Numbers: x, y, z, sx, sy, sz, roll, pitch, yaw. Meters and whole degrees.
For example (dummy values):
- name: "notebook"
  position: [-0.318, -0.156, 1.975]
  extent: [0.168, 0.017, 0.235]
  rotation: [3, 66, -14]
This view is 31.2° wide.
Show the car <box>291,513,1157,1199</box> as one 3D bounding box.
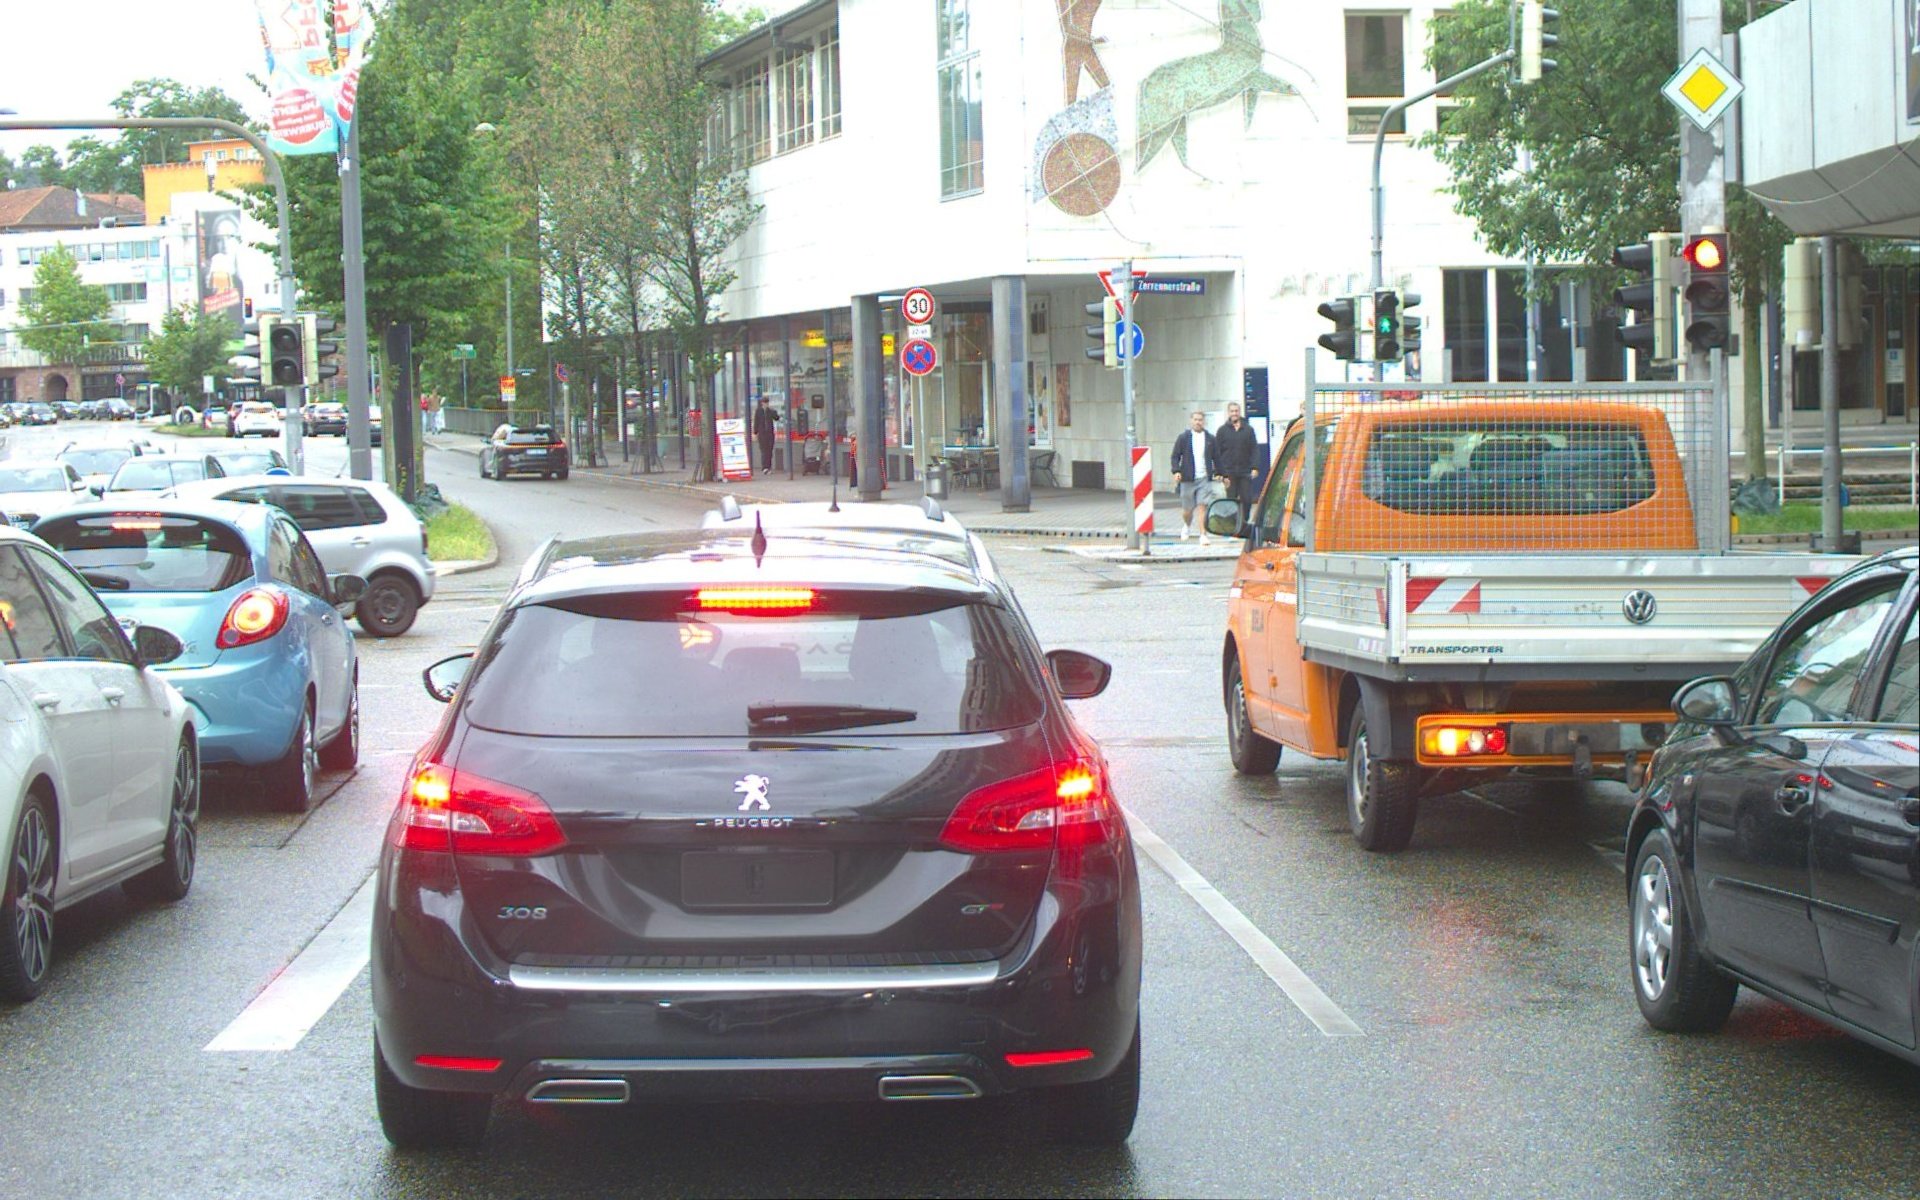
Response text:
- name: "car"
  position: [-0.483, 0.505, 9.006]
  extent: [1.777, 1.424, 3.842]
  rotation: [1, 2, 0]

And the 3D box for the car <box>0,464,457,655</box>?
- name: "car"
  position: [-6.538, -0.363, 30.348]
  extent: [3.741, 1.463, 1.638]
  rotation: [-3, 0, -33]

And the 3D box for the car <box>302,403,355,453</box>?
- name: "car"
  position: [-27.044, -7.350, 147.159]
  extent: [1.705, 1.929, 4.001]
  rotation: [1, 0, -18]

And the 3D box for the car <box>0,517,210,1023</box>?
- name: "car"
  position: [-3.723, 0.450, 11.441]
  extent: [1.777, 1.424, 3.843]
  rotation: [0, 2, -3]

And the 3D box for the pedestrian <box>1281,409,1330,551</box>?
- name: "pedestrian"
  position: [4.664, -1.617, 46.380]
  extent: [0.637, 1.891, 0.733]
  rotation: [0, 0, 6]

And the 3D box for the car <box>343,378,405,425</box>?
- name: "car"
  position: [-21.788, -7.358, 127.685]
  extent: [1.724, 1.485, 4.734]
  rotation: [1, 0, -16]

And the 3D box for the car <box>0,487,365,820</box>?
- name: "car"
  position: [-3.995, 0.189, 17.455]
  extent: [1.632, 1.481, 3.610]
  rotation: [0, 2, -5]

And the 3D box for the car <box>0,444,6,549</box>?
- name: "car"
  position: [-14.224, -1.402, 46.984]
  extent: [1.574, 1.481, 3.610]
  rotation: [0, 2, -4]

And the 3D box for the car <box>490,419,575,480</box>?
- name: "car"
  position: [-11.136, -3.934, 89.363]
  extent: [1.787, 1.449, 4.508]
  rotation: [-3, 4, -11]

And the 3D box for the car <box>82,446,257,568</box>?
- name: "car"
  position: [-10.963, -1.262, 47.906]
  extent: [1.744, 1.574, 4.000]
  rotation: [1, 0, -4]

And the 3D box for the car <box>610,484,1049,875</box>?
- name: "car"
  position: [-0.537, 0.249, 15.285]
  extent: [1.696, 1.481, 3.794]
  rotation: [0, 2, -1]

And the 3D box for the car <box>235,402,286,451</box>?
- name: "car"
  position: [-29.698, -7.345, 145.945]
  extent: [1.705, 1.875, 4.001]
  rotation: [1, 0, -18]

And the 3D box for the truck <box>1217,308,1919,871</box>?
- name: "truck"
  position: [2.581, -0.137, 15.837]
  extent: [2.177, 2.165, 5.021]
  rotation: [1, 2, -3]

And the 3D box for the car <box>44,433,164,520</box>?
- name: "car"
  position: [-15.222, -2.208, 61.269]
  extent: [1.632, 1.481, 3.611]
  rotation: [0, 2, -7]

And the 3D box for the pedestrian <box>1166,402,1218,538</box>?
- name: "pedestrian"
  position: [3.039, -1.691, 44.964]
  extent: [0.637, 1.752, 0.733]
  rotation: [0, 0, 6]

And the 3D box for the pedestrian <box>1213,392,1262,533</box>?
- name: "pedestrian"
  position: [3.766, -1.858, 46.660]
  extent: [0.637, 1.891, 0.733]
  rotation: [0, 0, 6]

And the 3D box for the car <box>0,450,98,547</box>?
- name: "car"
  position: [-14.648, -1.620, 54.090]
  extent: [1.632, 1.481, 3.611]
  rotation: [0, 2, -7]

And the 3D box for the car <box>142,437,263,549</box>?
- name: "car"
  position: [-11.990, -1.668, 54.598]
  extent: [1.744, 1.634, 4.001]
  rotation: [1, 0, -11]

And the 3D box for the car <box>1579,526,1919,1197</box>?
- name: "car"
  position: [2.829, 0.553, 8.672]
  extent: [1.616, 1.424, 3.843]
  rotation: [0, 2, -3]

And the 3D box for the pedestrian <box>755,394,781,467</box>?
- name: "pedestrian"
  position: [-4.657, -4.104, 83.413]
  extent: [0.468, 1.742, 0.541]
  rotation: [1, 0, -21]
